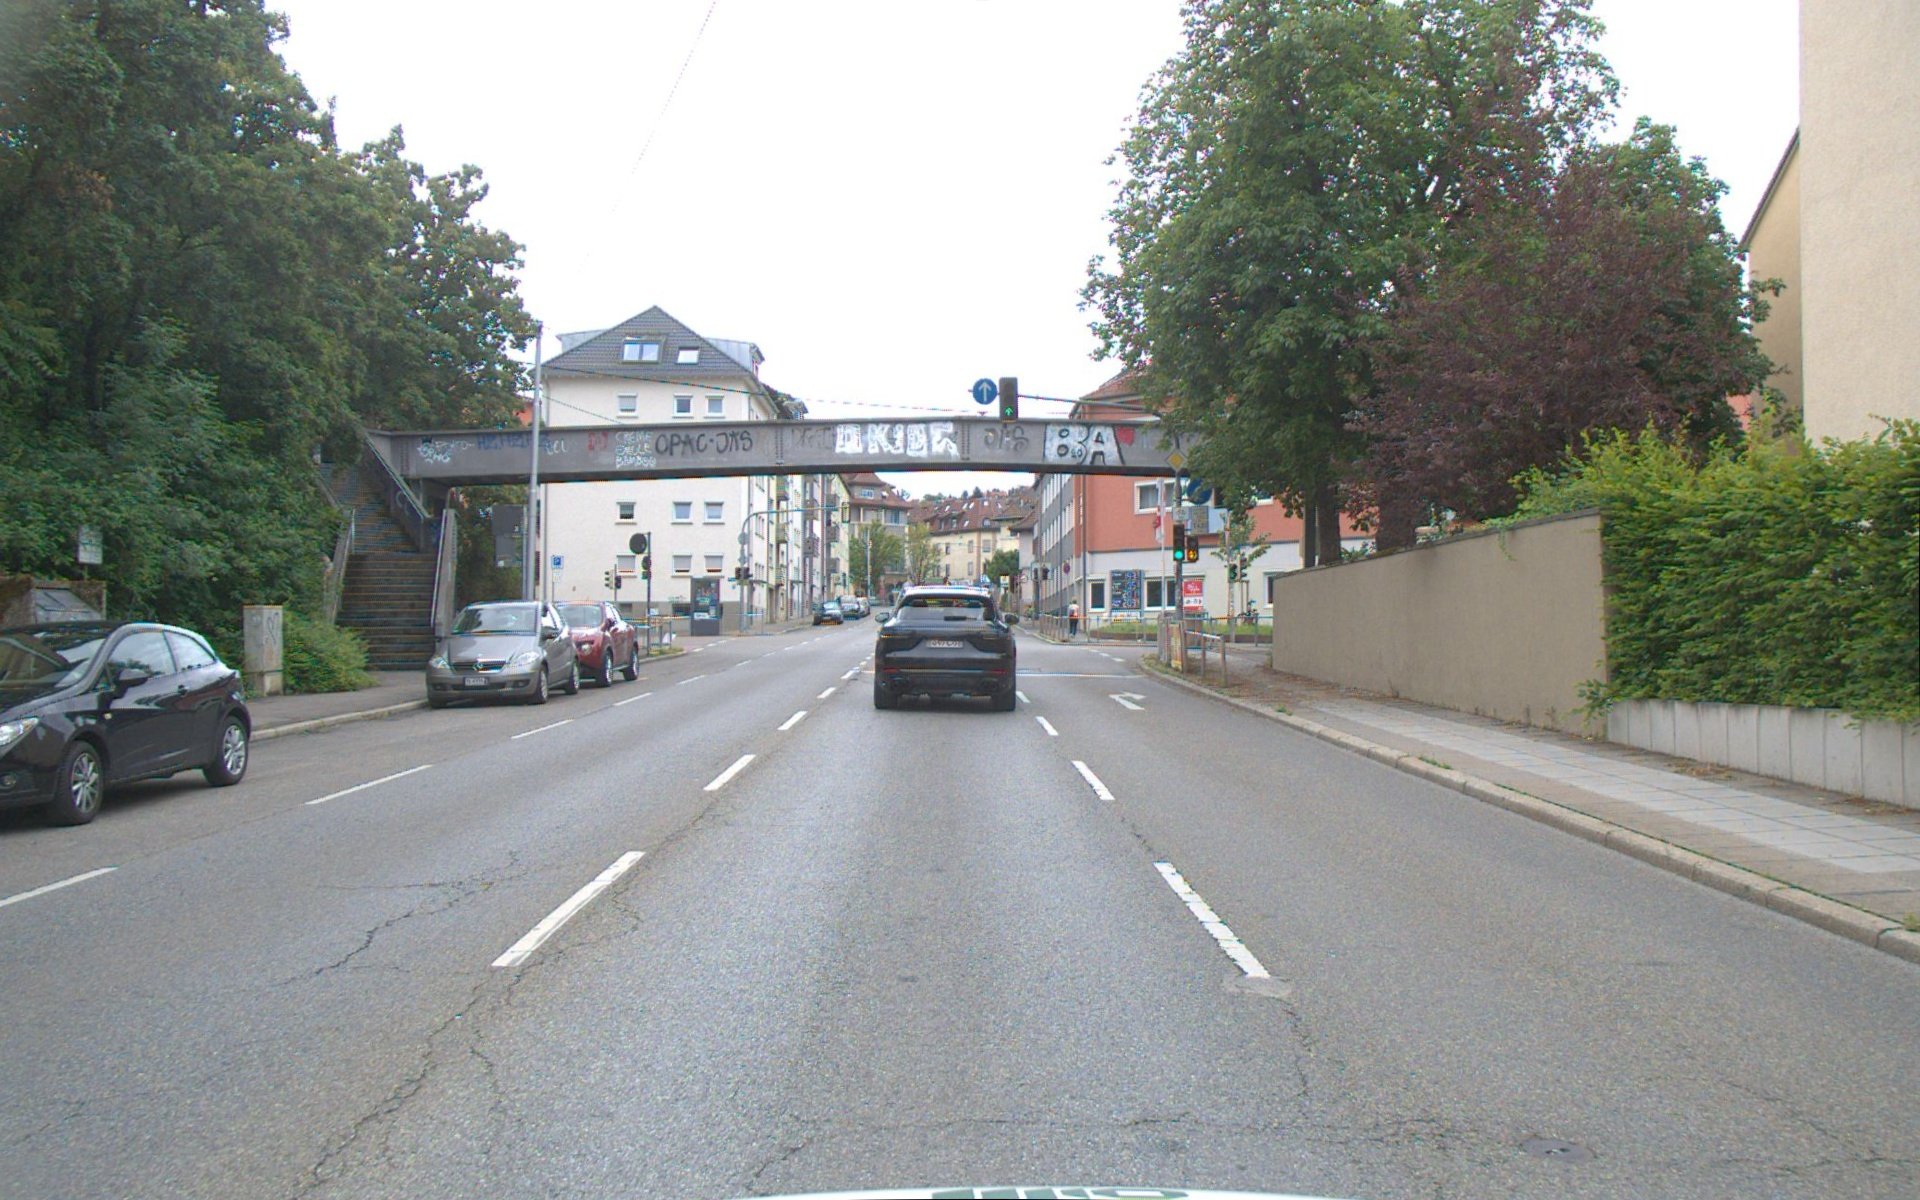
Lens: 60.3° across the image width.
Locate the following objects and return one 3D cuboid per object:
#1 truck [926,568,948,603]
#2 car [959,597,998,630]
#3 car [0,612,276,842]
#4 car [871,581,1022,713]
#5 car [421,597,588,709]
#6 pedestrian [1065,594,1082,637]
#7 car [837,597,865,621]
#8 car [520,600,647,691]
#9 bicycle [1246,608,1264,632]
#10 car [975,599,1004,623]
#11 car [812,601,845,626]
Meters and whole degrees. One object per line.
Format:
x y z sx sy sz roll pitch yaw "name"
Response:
-2.357 -1.406 169.524 2.220 3.484 9.876 0 0 -1 "truck"
0.820 0.600 76.255 1.706 1.424 4.000 0 1 0 "car"
-6.930 0.865 12.731 1.710 1.464 3.912 -2 0 -1 "car"
-0.182 0.586 23.530 1.953 1.691 4.000 0 1 0 "car"
-7.191 0.783 26.489 1.711 1.596 3.906 -2 0 -3 "car"
4.744 0.643 69.276 0.639 1.823 0.714 0 0 -3 "pedestrian"
-7.949 0.641 120.741 1.729 1.679 4.000 0 0 0 "car"
-7.053 0.809 31.281 1.502 1.567 3.981 -2 0 -1 "car"
11.458 0.765 64.235 0.333 0.919 1.743 0 0 22 "bicycle"
1.835 0.680 104.395 1.706 1.424 4.000 0 1 0 "car"
-8.271 0.813 104.123 1.729 1.534 4.000 0 0 0 "car"
